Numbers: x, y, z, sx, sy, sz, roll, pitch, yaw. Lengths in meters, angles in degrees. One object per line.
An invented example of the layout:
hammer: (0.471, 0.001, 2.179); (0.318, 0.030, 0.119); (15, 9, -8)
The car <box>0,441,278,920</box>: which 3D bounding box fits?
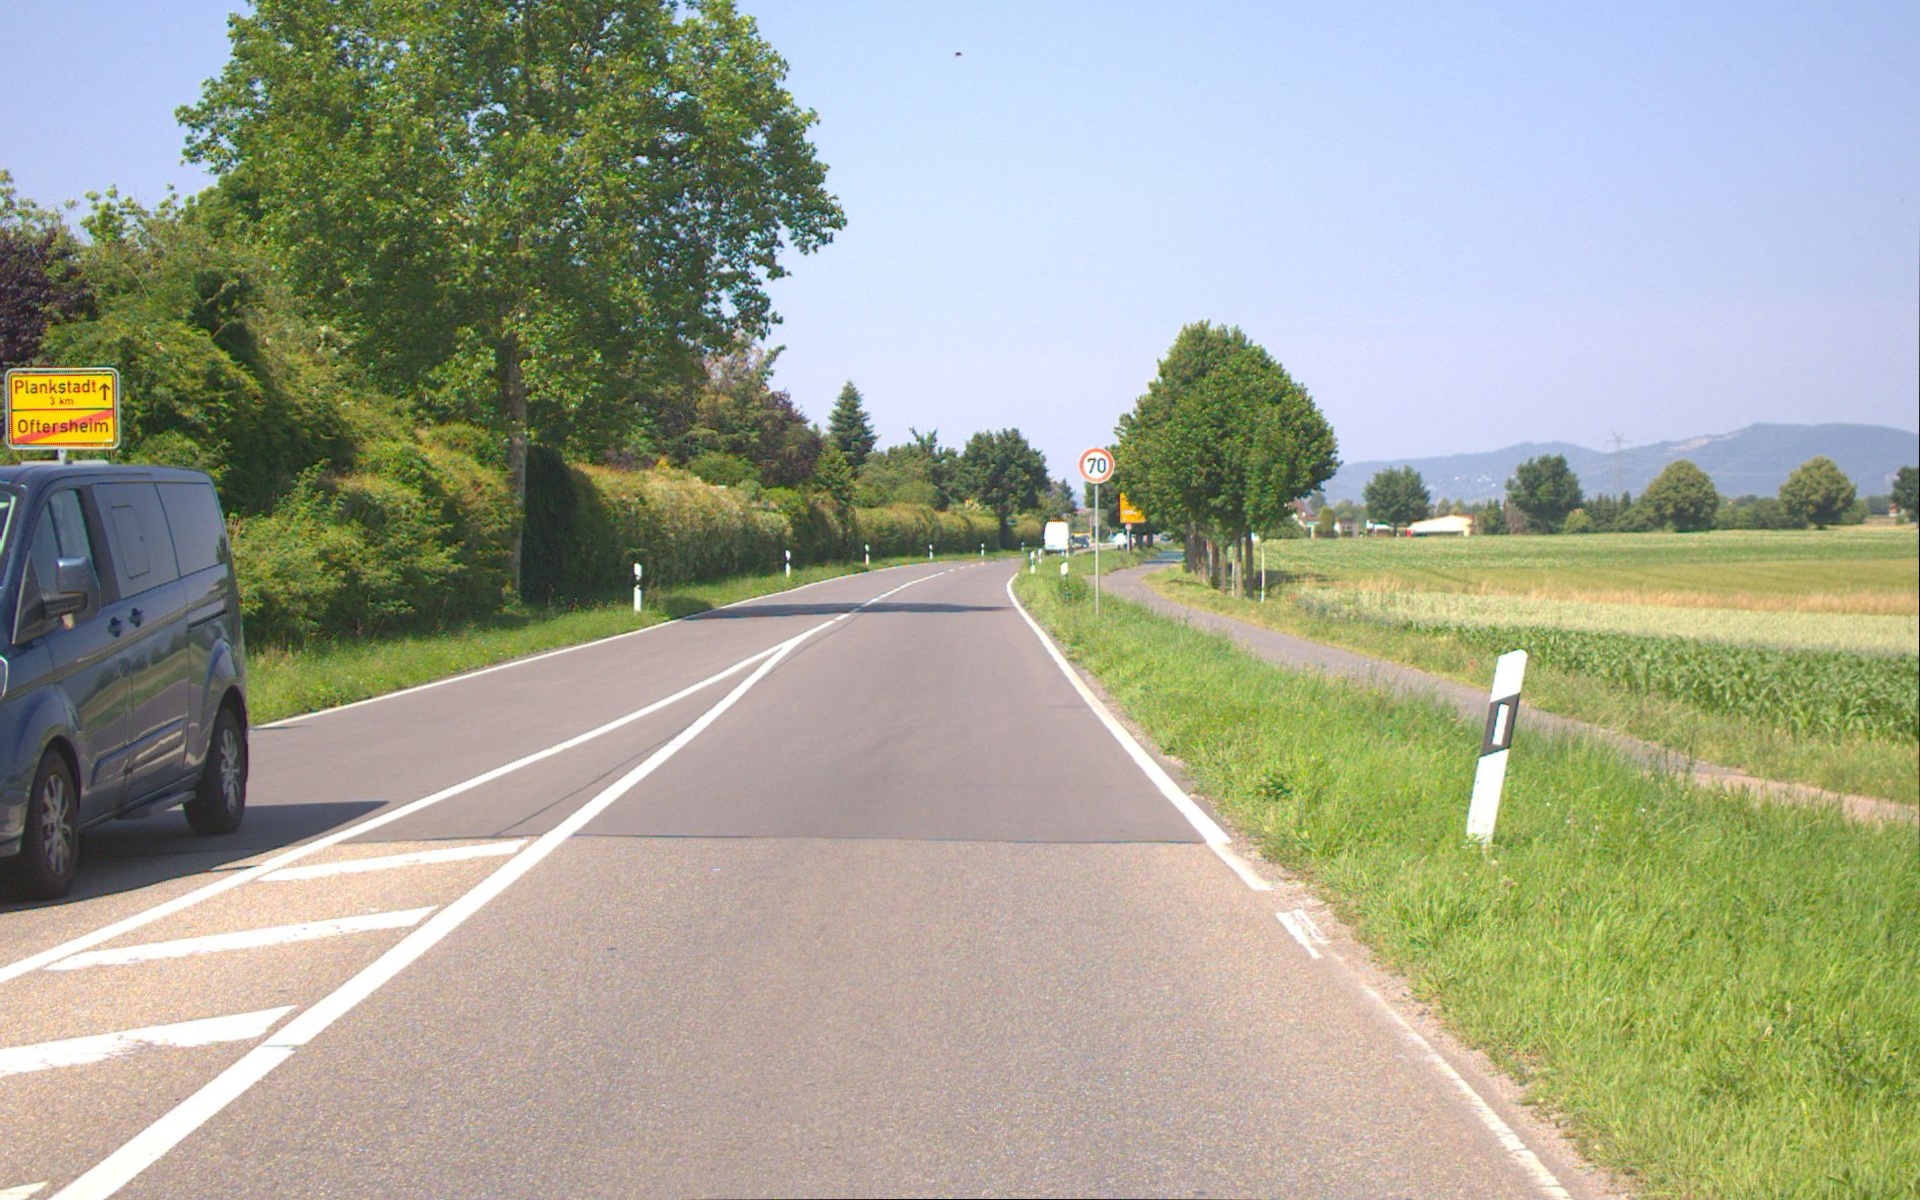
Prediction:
car: (-4.928, 0.295, 16.592); (2.144, 1.944, 5.248); (-2, 1, 0)
